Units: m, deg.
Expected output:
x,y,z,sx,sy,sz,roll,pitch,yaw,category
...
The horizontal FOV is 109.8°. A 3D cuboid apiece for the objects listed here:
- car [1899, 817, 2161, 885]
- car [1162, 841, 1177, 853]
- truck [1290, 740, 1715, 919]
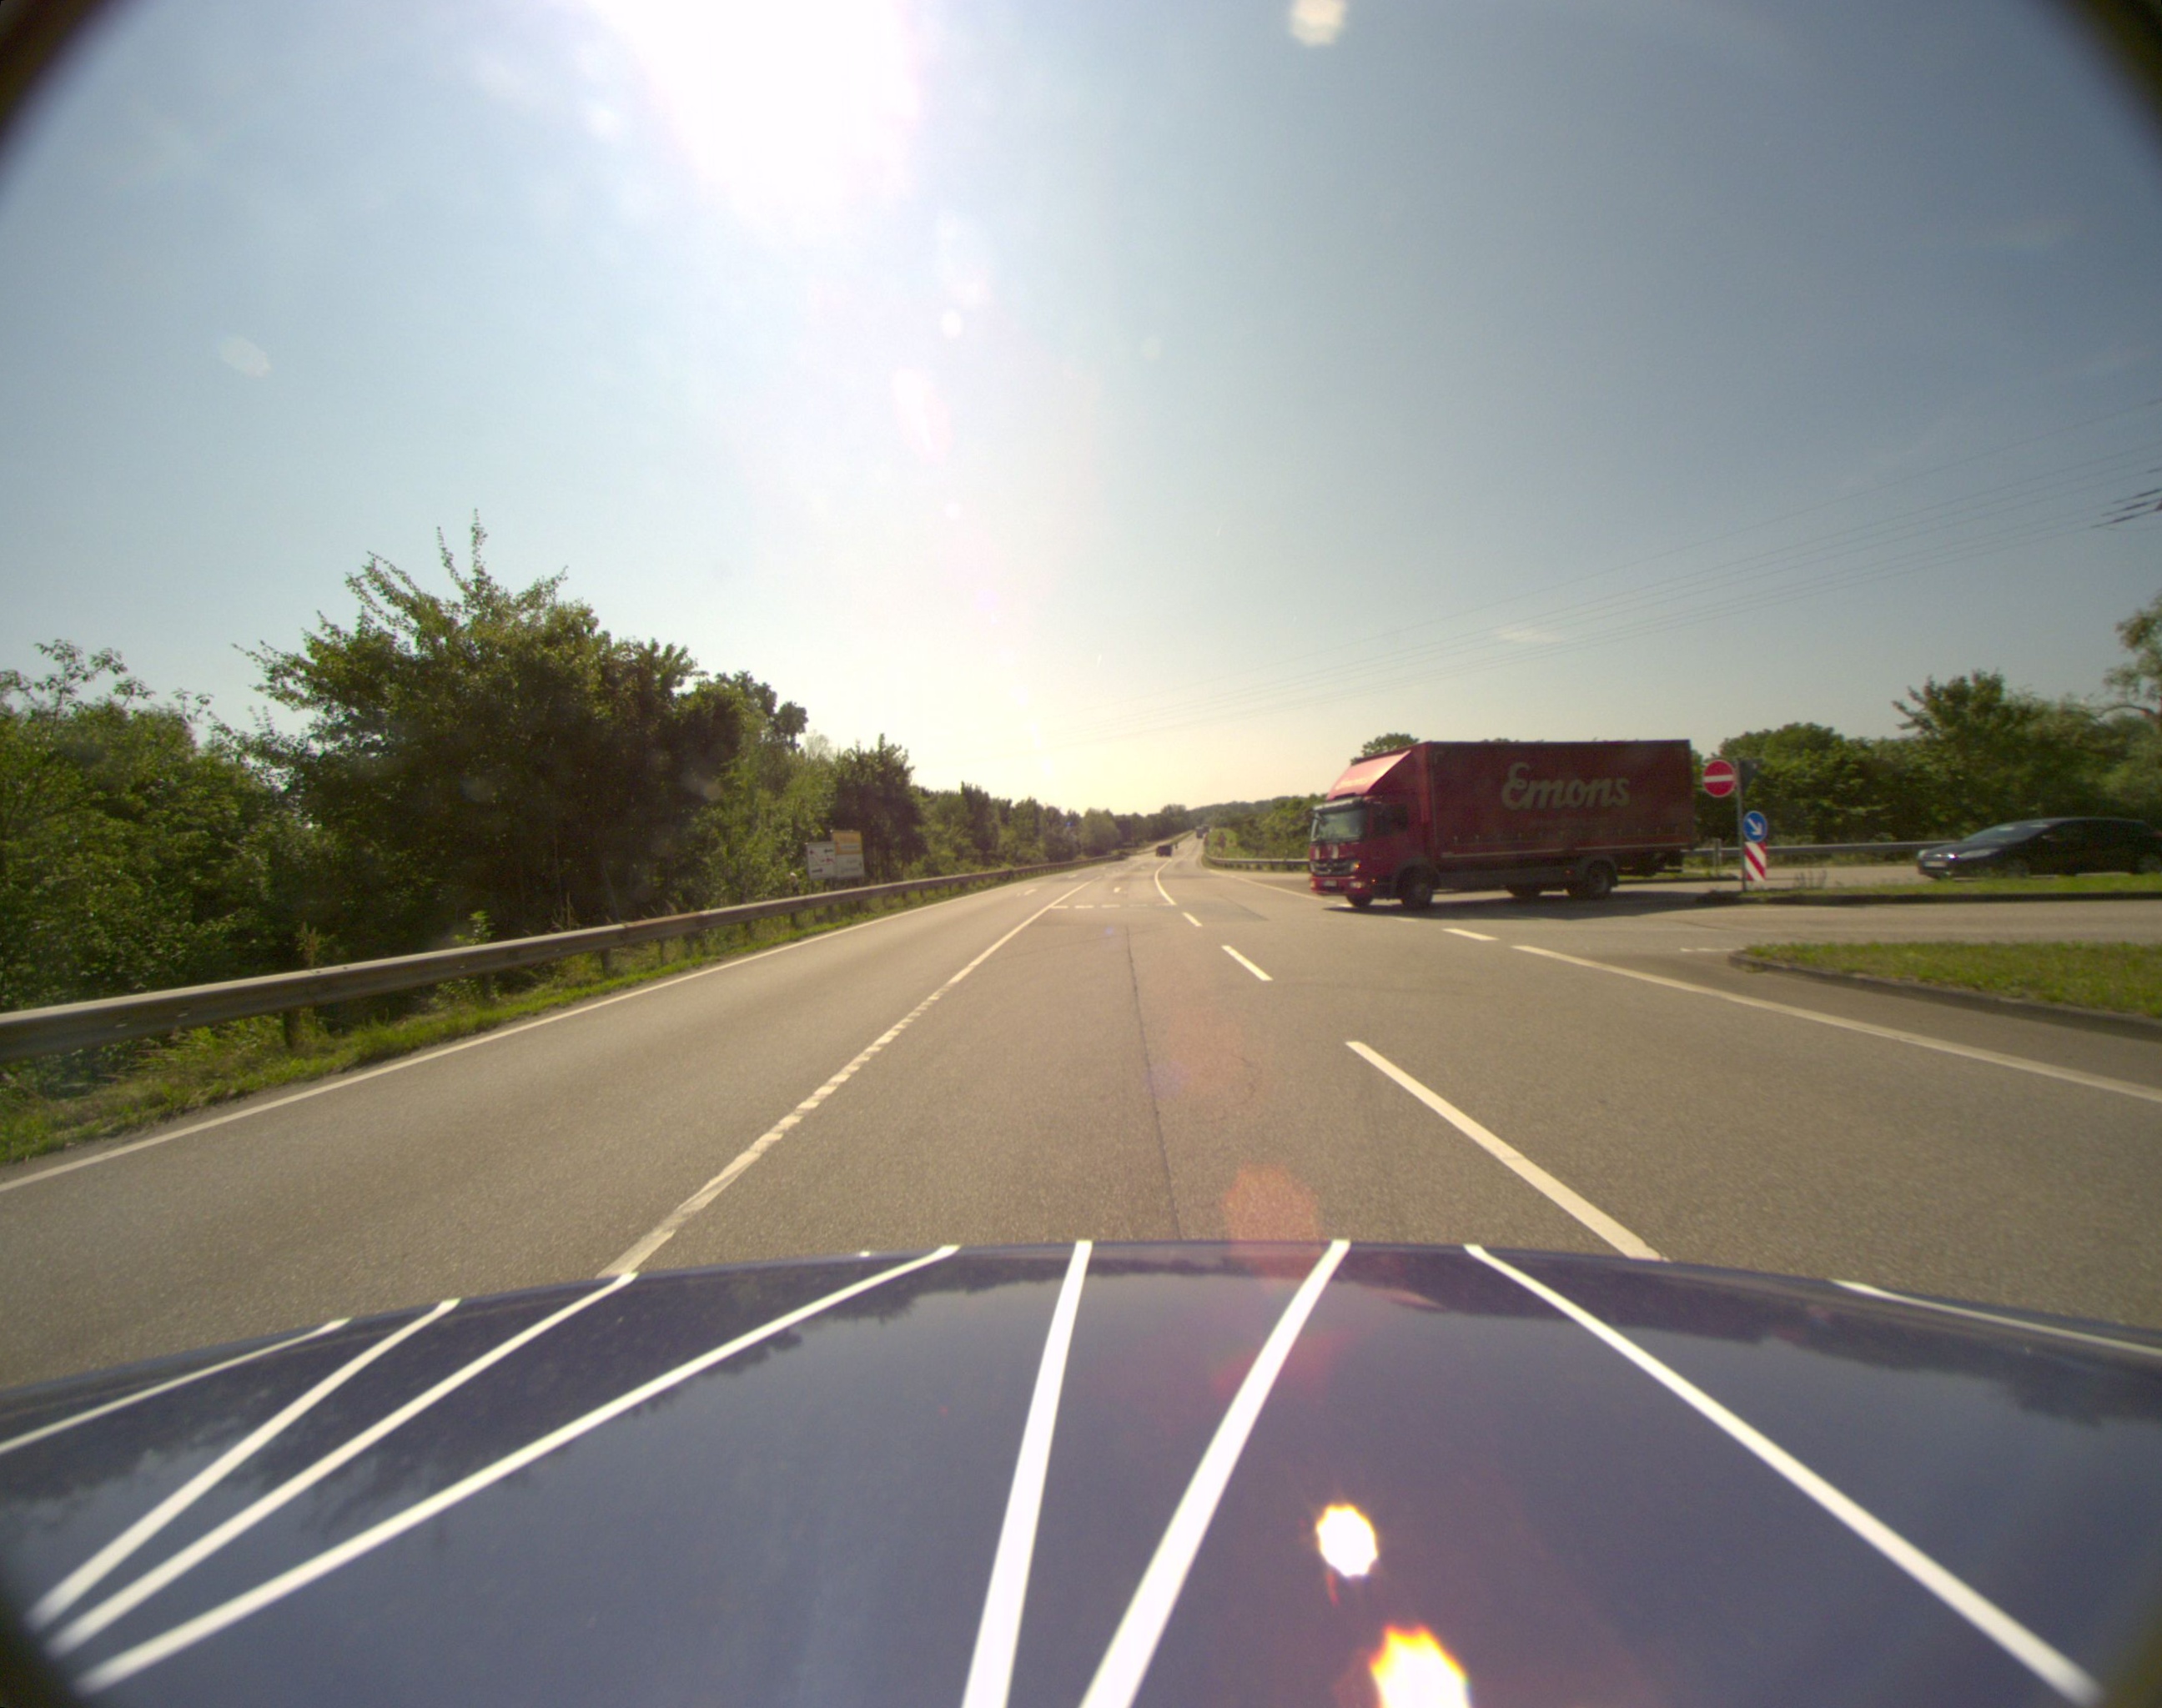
x,y,z,sx,sy,sz,roll,pitch,yaw,category
22.580,-0.071,18.116,3.995,1.406,1.789,-2,1,5,car
14.202,-1.086,122.154,1.997,1.868,4.997,-2,0,10,car
9.909,-0.659,18.008,9.264,3.640,2.688,-2,1,-12,truck
